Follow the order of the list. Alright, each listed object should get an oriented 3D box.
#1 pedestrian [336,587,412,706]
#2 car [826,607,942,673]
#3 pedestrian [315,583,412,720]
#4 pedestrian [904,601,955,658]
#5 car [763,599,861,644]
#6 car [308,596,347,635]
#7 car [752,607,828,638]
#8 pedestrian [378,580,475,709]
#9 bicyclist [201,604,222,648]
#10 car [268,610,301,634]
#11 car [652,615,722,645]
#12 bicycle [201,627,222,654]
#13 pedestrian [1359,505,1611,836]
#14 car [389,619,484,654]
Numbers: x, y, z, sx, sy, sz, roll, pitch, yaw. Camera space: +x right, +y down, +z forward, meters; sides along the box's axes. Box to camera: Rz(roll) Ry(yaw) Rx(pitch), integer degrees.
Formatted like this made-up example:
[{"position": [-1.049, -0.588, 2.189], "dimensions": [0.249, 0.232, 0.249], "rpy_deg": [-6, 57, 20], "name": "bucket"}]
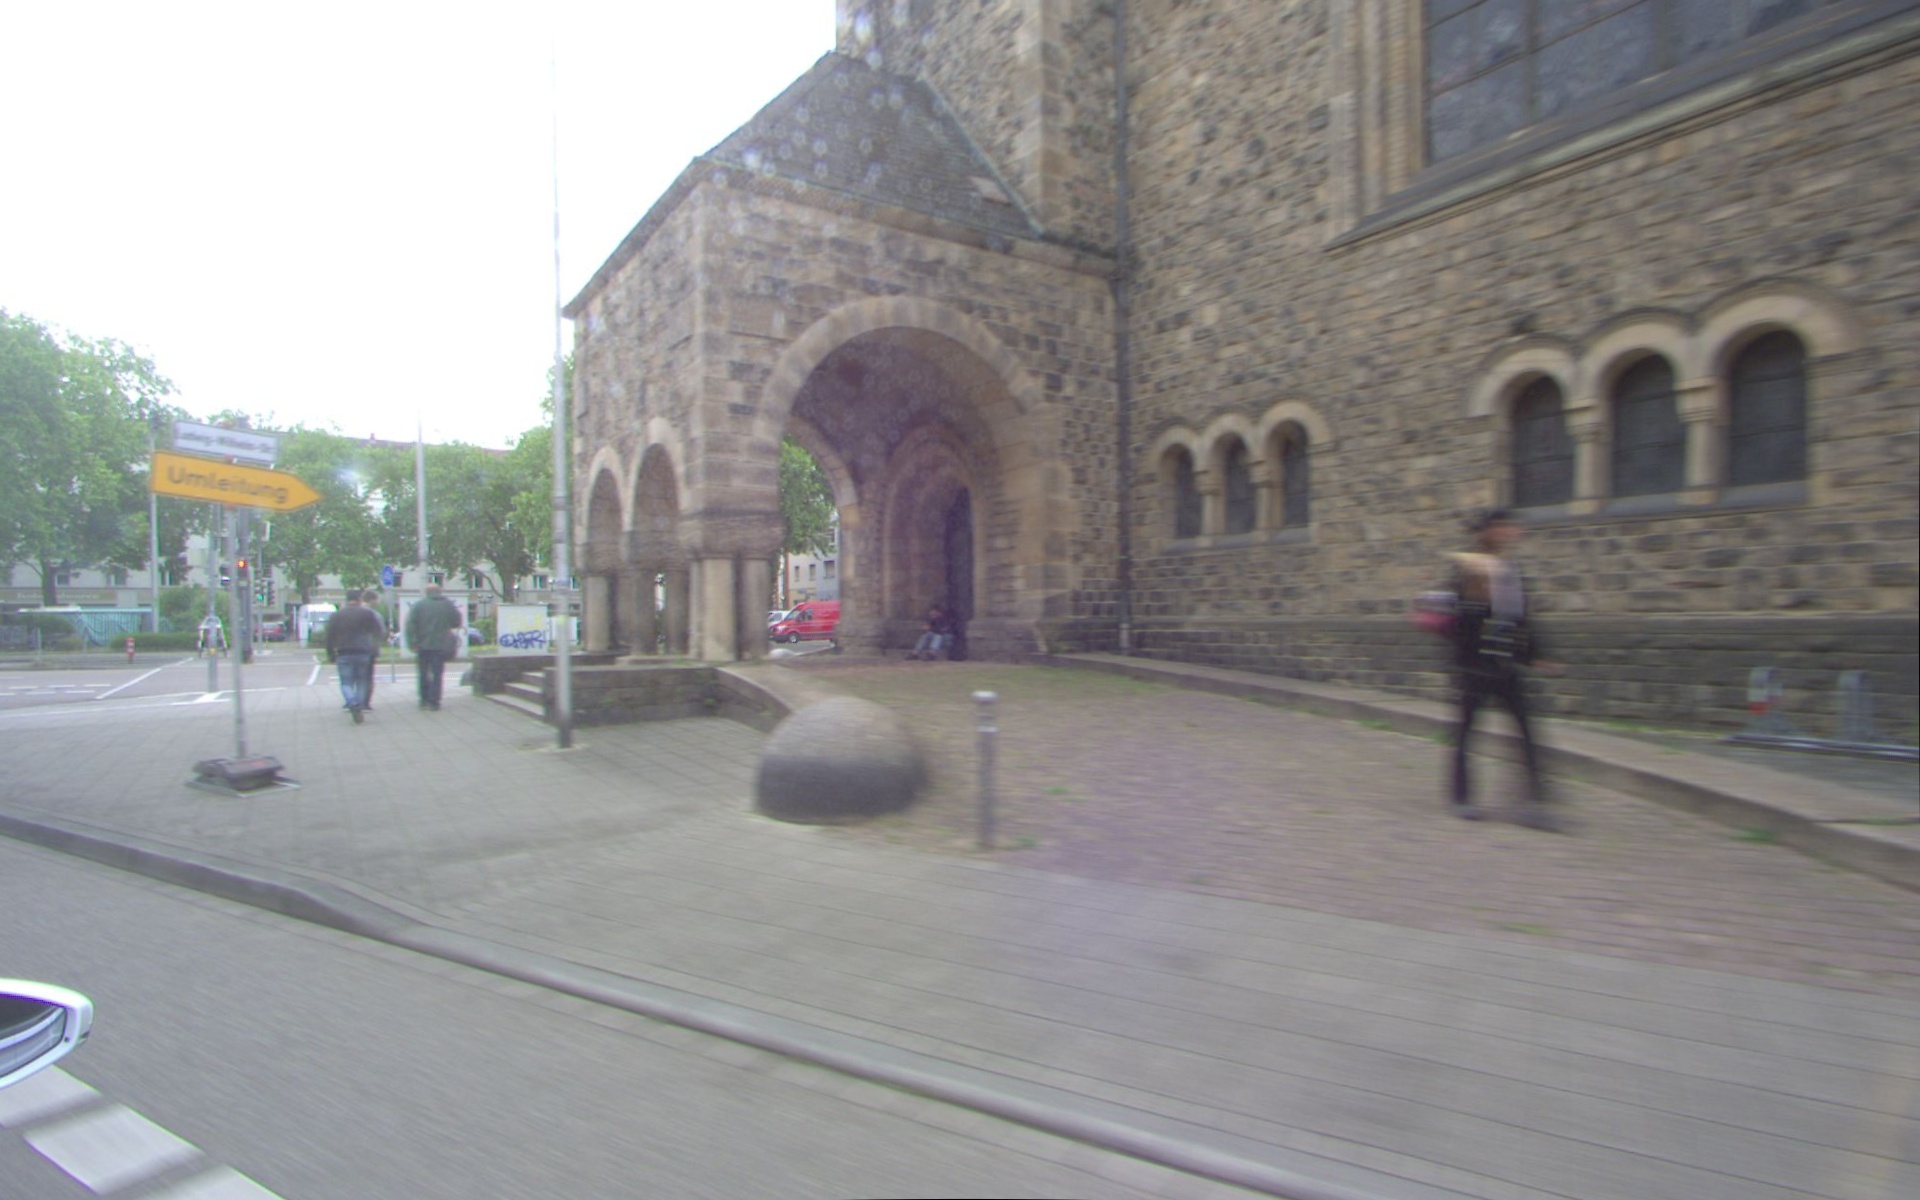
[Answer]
[{"position": [-8.728, 0.668, 14.909], "dimensions": [0.957, 1.696, 0.630], "rpy_deg": [0, 2, 39], "name": "pedestrian"}, {"position": [-2.025, 1.001, 25.898], "dimensions": [1.596, 1.550, 3.448], "rpy_deg": [0, -1, -31], "name": "car"}, {"position": [-7.801, 0.644, 13.093], "dimensions": [0.955, 1.709, 0.672], "rpy_deg": [0, 2, 32], "name": "pedestrian"}, {"position": [-0.526, 0.505, 17.378], "dimensions": [0.665, 0.964, 0.611], "rpy_deg": [0, 0, -36], "name": "pedestrian"}, {"position": [-8.886, 1.267, 60.351], "dimensions": [5.538, 2.571, 1.979], "rpy_deg": [0, -1, -35], "name": "car"}, {"position": [-45.283, 1.137, 71.734], "dimensions": [2.211, 2.674, 5.417], "rpy_deg": [0, -1, -31], "name": "car"}, {"position": [-12.216, 1.577, 71.919], "dimensions": [5.022, 2.123, 1.979], "rpy_deg": [0, -1, -35], "name": "car"}, {"position": [-7.695, 0.617, 14.452], "dimensions": [0.955, 1.783, 0.802], "rpy_deg": [0, 2, 32], "name": "pedestrian"}, {"position": [-28.648, 0.995, 38.320], "dimensions": [0.608, 1.676, 0.749], "rpy_deg": [0, 0, -36], "name": "bicyclist"}, {"position": [-46.074, 1.493, 68.330], "dimensions": [1.647, 1.535, 3.916], "rpy_deg": [0, -1, -31], "name": "car"}, {"position": [-15.314, 1.686, 56.211], "dimensions": [3.422, 1.582, 1.676], "rpy_deg": [0, -1, -35], "name": "car"}, {"position": [-28.647, 1.536, 38.335], "dimensions": [0.546, 1.008, 2.047], "rpy_deg": [0, -1, -35], "name": "bicycle"}, {"position": [3.195, 0.361, 6.148], "dimensions": [0.806, 1.834, 1.011], "rpy_deg": [-1, 5, -37], "name": "pedestrian"}, {"position": [-25.654, 1.757, 49.132], "dimensions": [3.938, 1.582, 1.676], "rpy_deg": [0, -1, -35], "name": "car"}]
